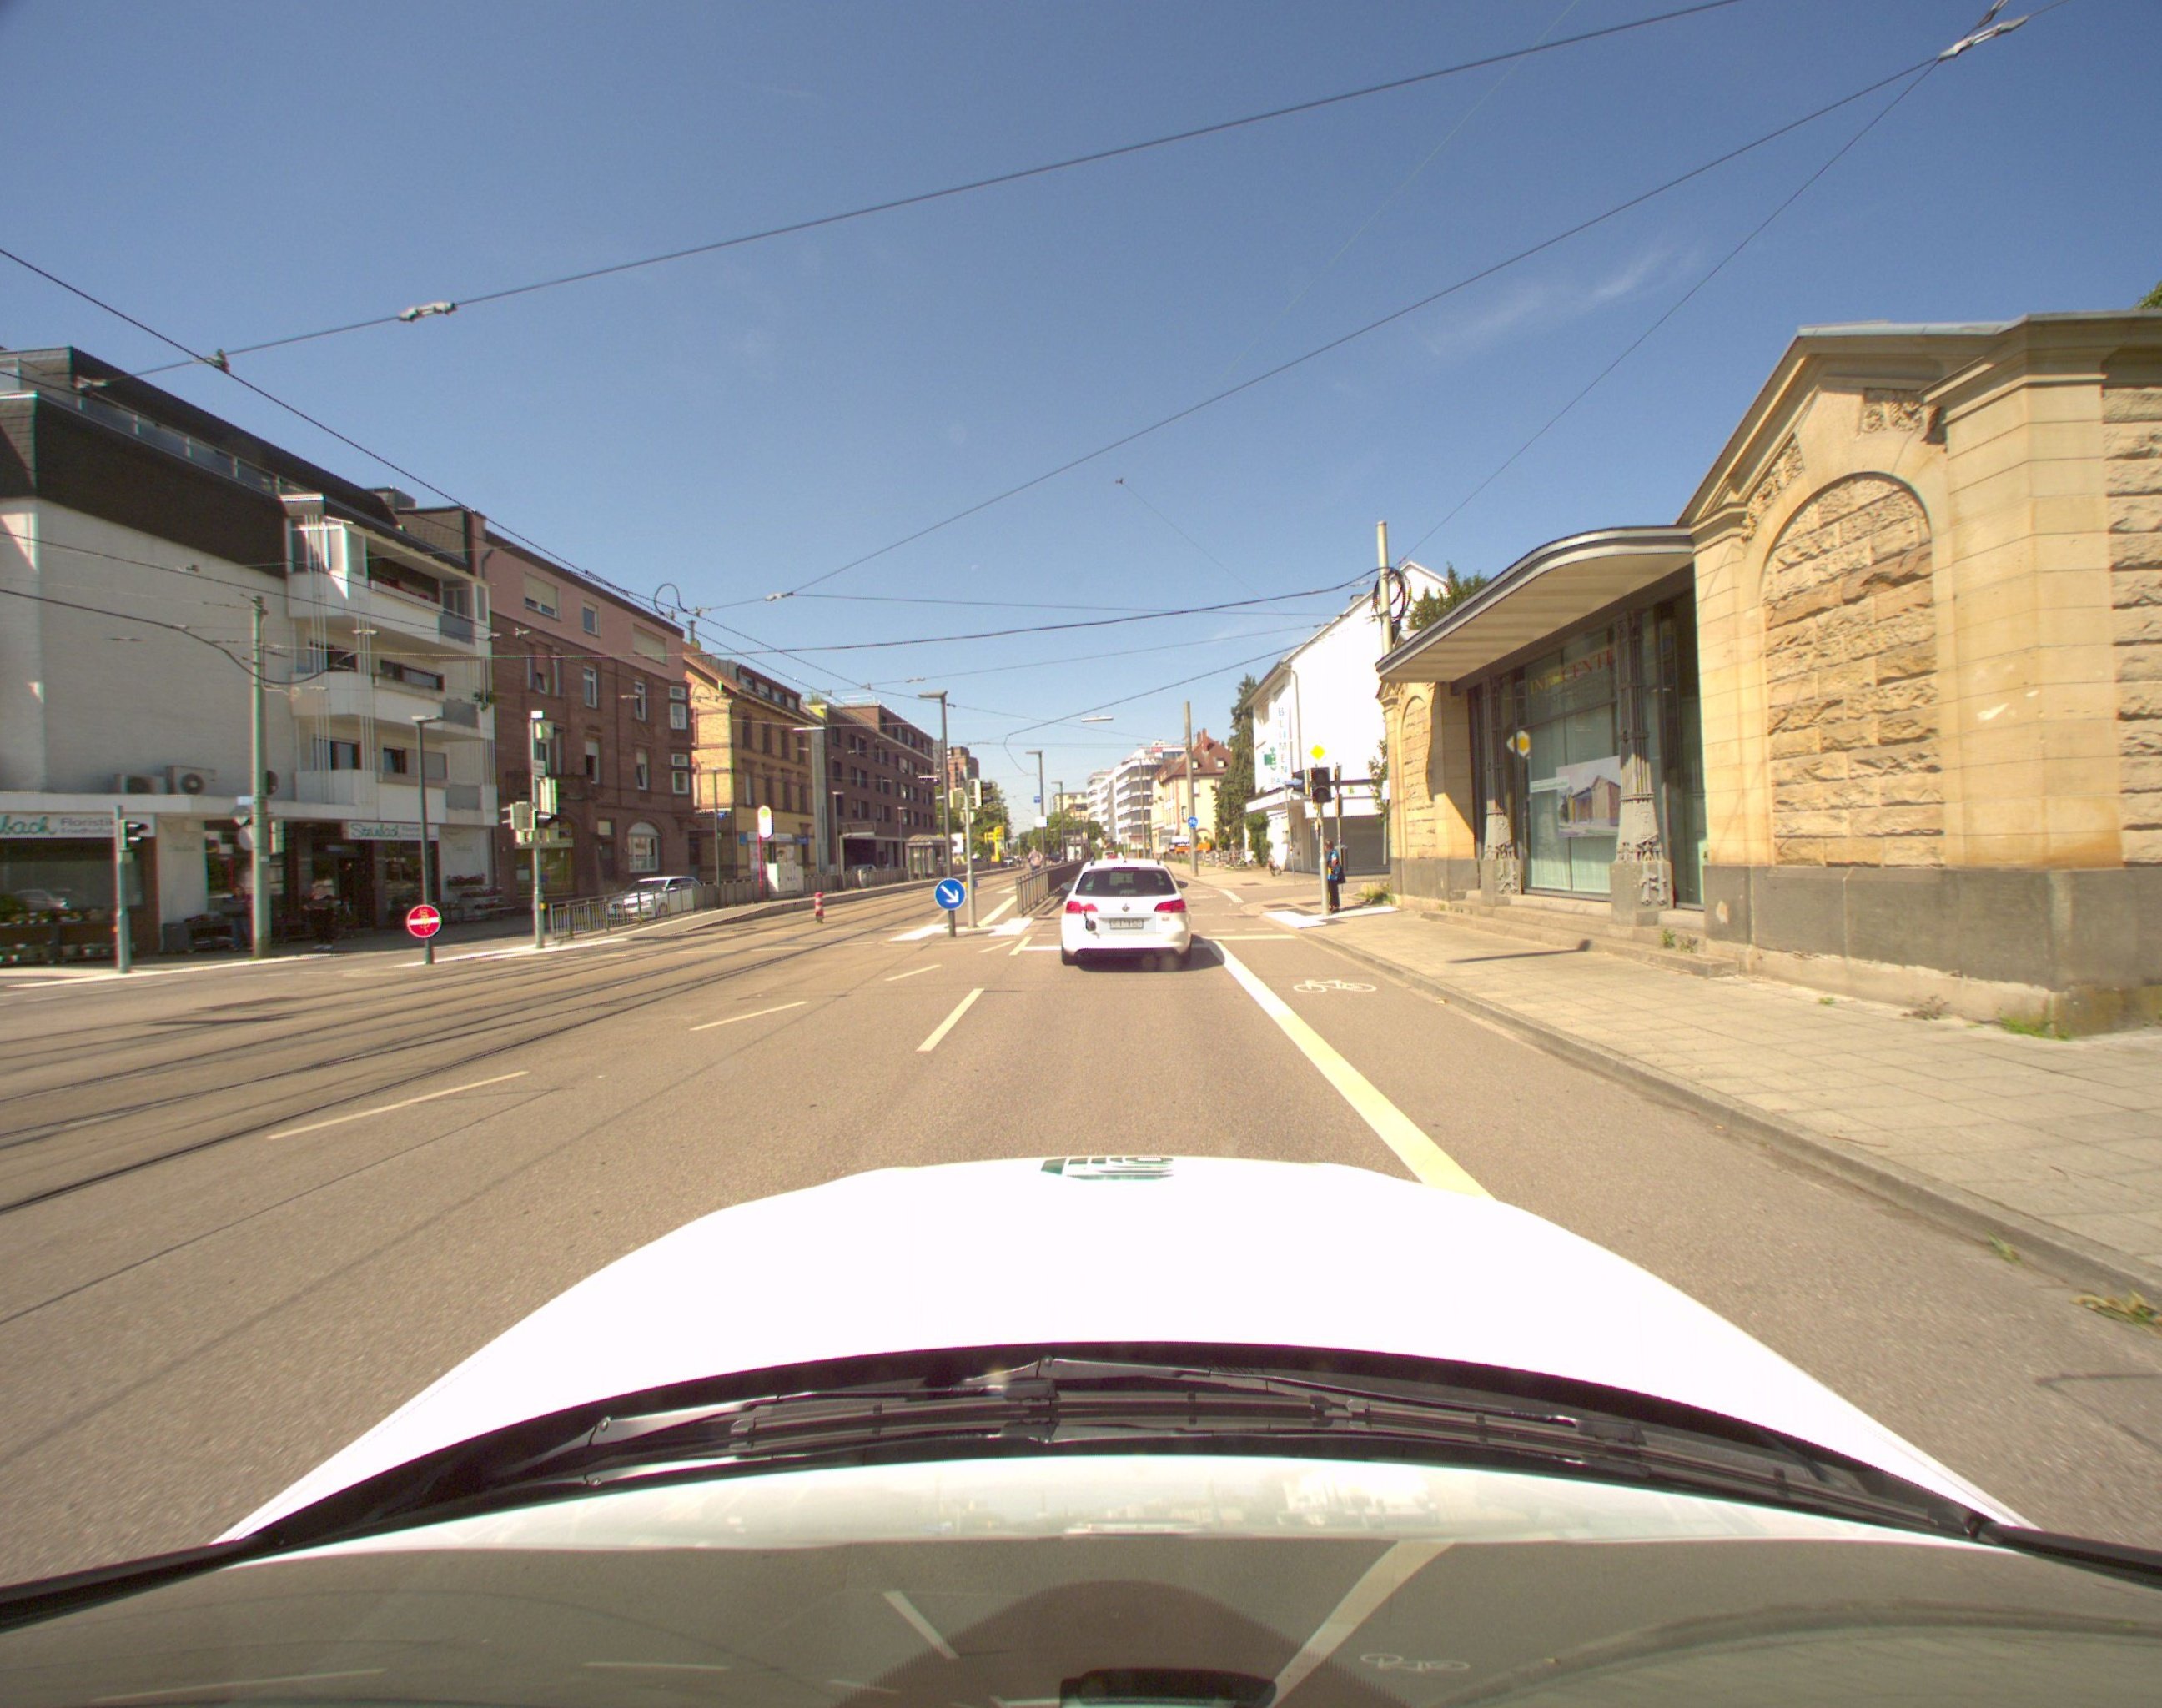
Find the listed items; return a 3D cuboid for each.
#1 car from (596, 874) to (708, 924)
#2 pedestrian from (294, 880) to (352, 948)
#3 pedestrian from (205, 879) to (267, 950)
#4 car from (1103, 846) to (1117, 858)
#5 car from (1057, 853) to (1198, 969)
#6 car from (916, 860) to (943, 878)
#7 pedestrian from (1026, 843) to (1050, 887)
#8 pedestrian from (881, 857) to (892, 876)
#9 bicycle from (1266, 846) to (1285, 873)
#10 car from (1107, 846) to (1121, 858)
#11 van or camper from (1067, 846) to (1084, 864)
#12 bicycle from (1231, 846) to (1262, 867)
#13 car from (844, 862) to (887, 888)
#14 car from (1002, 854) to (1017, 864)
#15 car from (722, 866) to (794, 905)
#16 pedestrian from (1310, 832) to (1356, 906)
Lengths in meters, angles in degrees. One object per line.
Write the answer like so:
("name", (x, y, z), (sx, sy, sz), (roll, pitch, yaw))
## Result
("car", (-14.397, 1.455, 27.579), (1.620, 1.431, 3.963), (-2, 0, 1))
("pedestrian", (-19.461, 1.528, 20.925), (0.883, 1.647, 0.674), (-3, -1, -29))
("pedestrian", (-20.796, 1.473, 20.047), (0.676, 1.647, 0.732), (-3, 0, 1))
("car", (5.154, -0.354, 144.510), (1.989, 2.013, 3.997), (-3, 0, -2))
("car", (0.664, 0.709, 12.098), (1.746, 1.417, 3.855), (-1, 0, 2))
("car", (-13.347, 1.294, 71.946), (1.567, 1.459, 3.936), (-3, 0, 1))
("pedestrian", (-1.789, 0.447, 34.223), (0.823, 1.809, 0.834), (-3, 0, 3))
("pedestrian", (-18.123, 1.172, 75.900), (0.722, 1.791, 0.965), (-1, 0, 2))
("bicycle", (8.830, 0.239, 36.895), (0.720, 1.139, 2.203), (-3, 0, 15))
("car", (5.622, -0.370, 139.072), (1.989, 2.013, 3.997), (-3, 0, -2))
("van or camper", (-1.095, 0.204, 149.531), (2.935, 3.179, 6.610), (-3, 0, -1))
("bicycle", (9.804, 0.129, 48.171), (1.704, 1.130, 0.526), (-3, 0, 3))
("car", (-13.563, 1.288, 51.384), (1.567, 1.459, 3.739), (-3, 0, 1))
("car", (-10.737, 0.739, 122.666), (1.661, 1.466, 3.775), (-3, 0, 2))
("car", (-13.949, 1.308, 35.366), (1.568, 1.459, 3.812), (-3, 0, -1))
("pedestrian", (5.380, 0.316, 17.445), (0.774, 1.510, 0.861), (-3, 0, 10))
